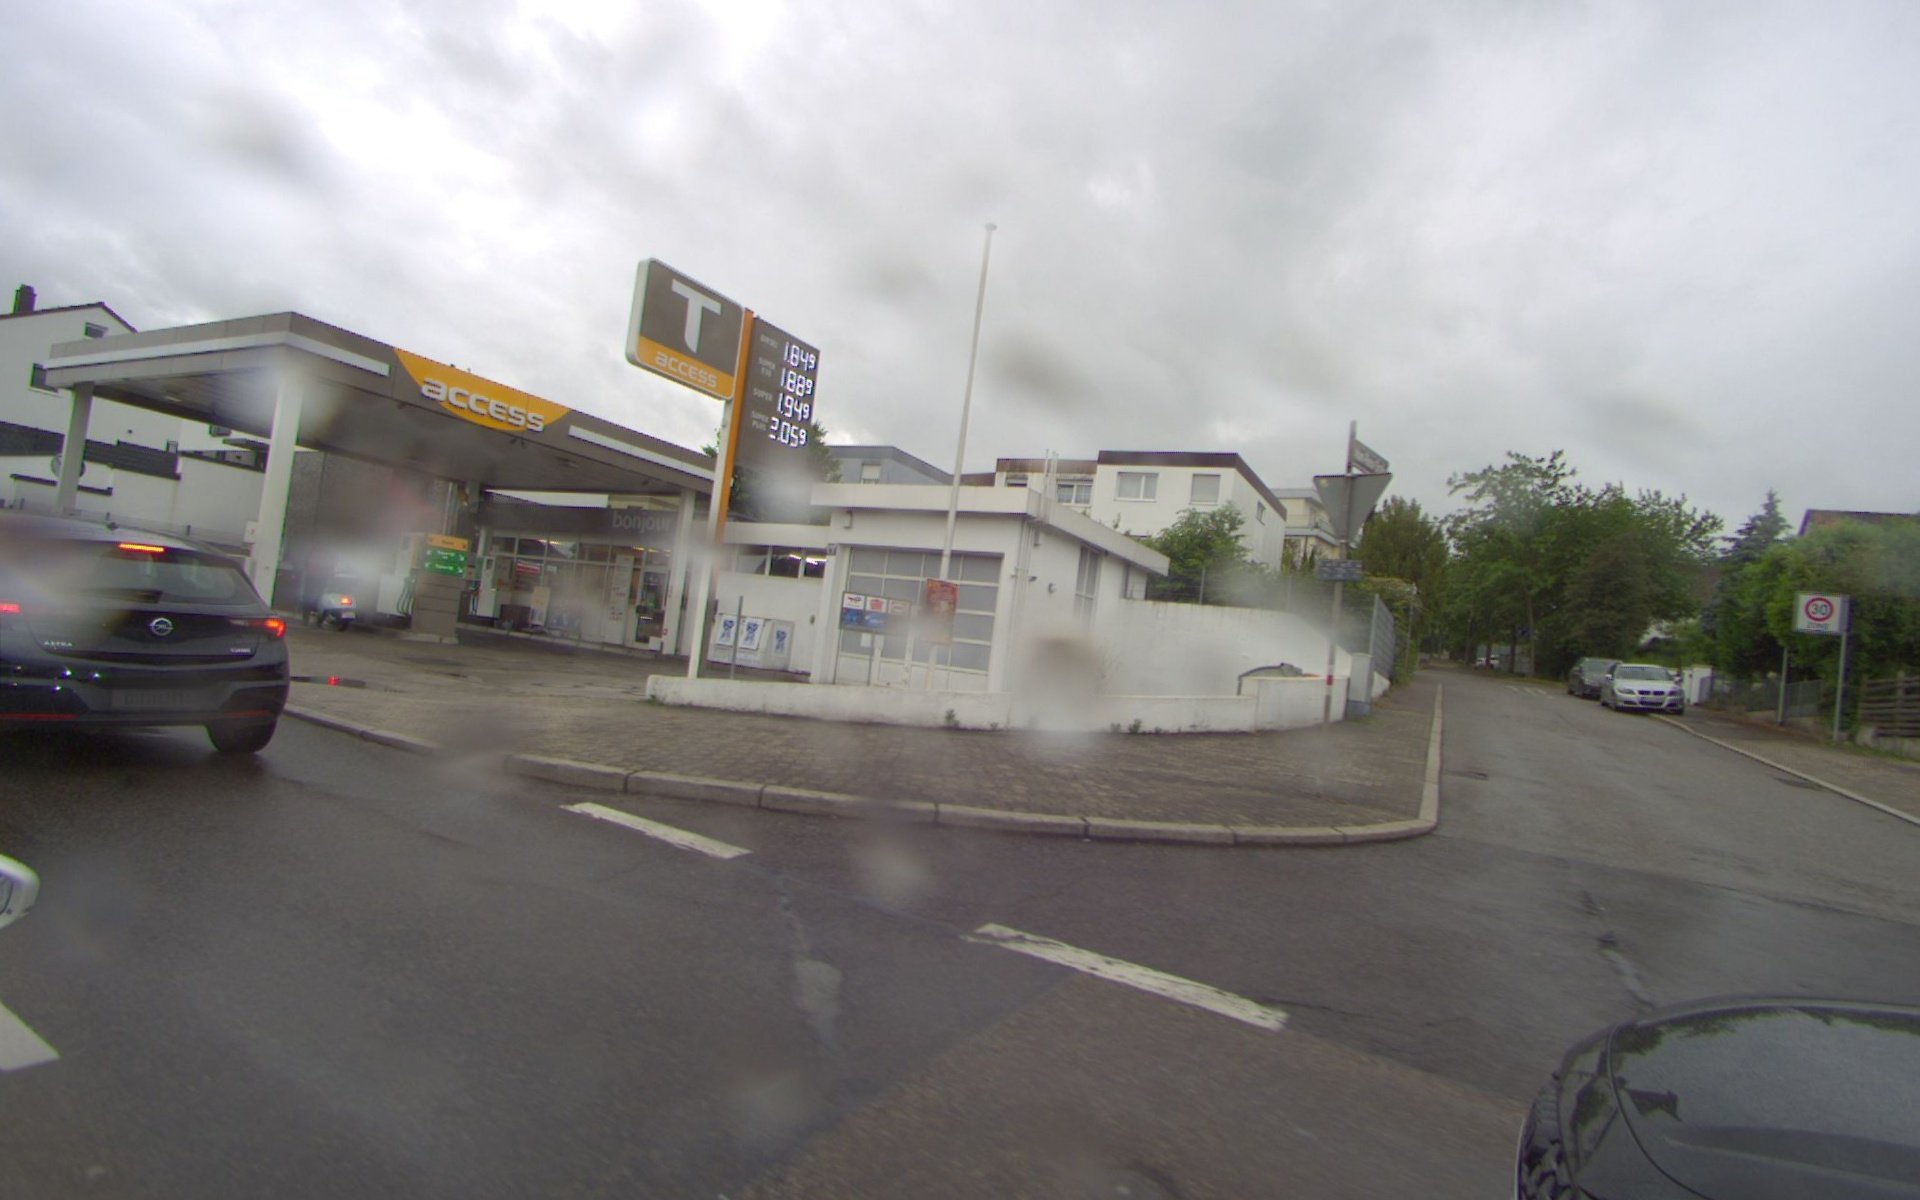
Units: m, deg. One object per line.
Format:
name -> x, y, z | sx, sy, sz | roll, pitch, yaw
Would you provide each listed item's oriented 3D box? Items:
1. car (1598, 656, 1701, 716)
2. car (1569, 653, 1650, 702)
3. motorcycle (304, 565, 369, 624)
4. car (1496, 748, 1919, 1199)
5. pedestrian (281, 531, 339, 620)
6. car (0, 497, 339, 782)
car -> 20.826, 2.540, 30.567 | 1.965, 1.494, 3.993 | 4, 0, 27
car -> 23.357, 2.742, 36.331 | 1.965, 1.494, 3.993 | 4, 0, 27
motorcycle -> -12.562, -0.114, 20.259 | 1.368, 1.067, 0.463 | 5, -2, 32
car -> 3.088, 1.195, 0.811 | 4.660, 1.440, 1.871 | 5, -3, 30
pedestrian -> -12.941, -0.488, 20.037 | 0.576, 1.674, 0.611 | 5, -2, 31
car -> -6.264, 0.084, 6.806 | 3.933, 1.466, 1.760 | 7, -2, 31
